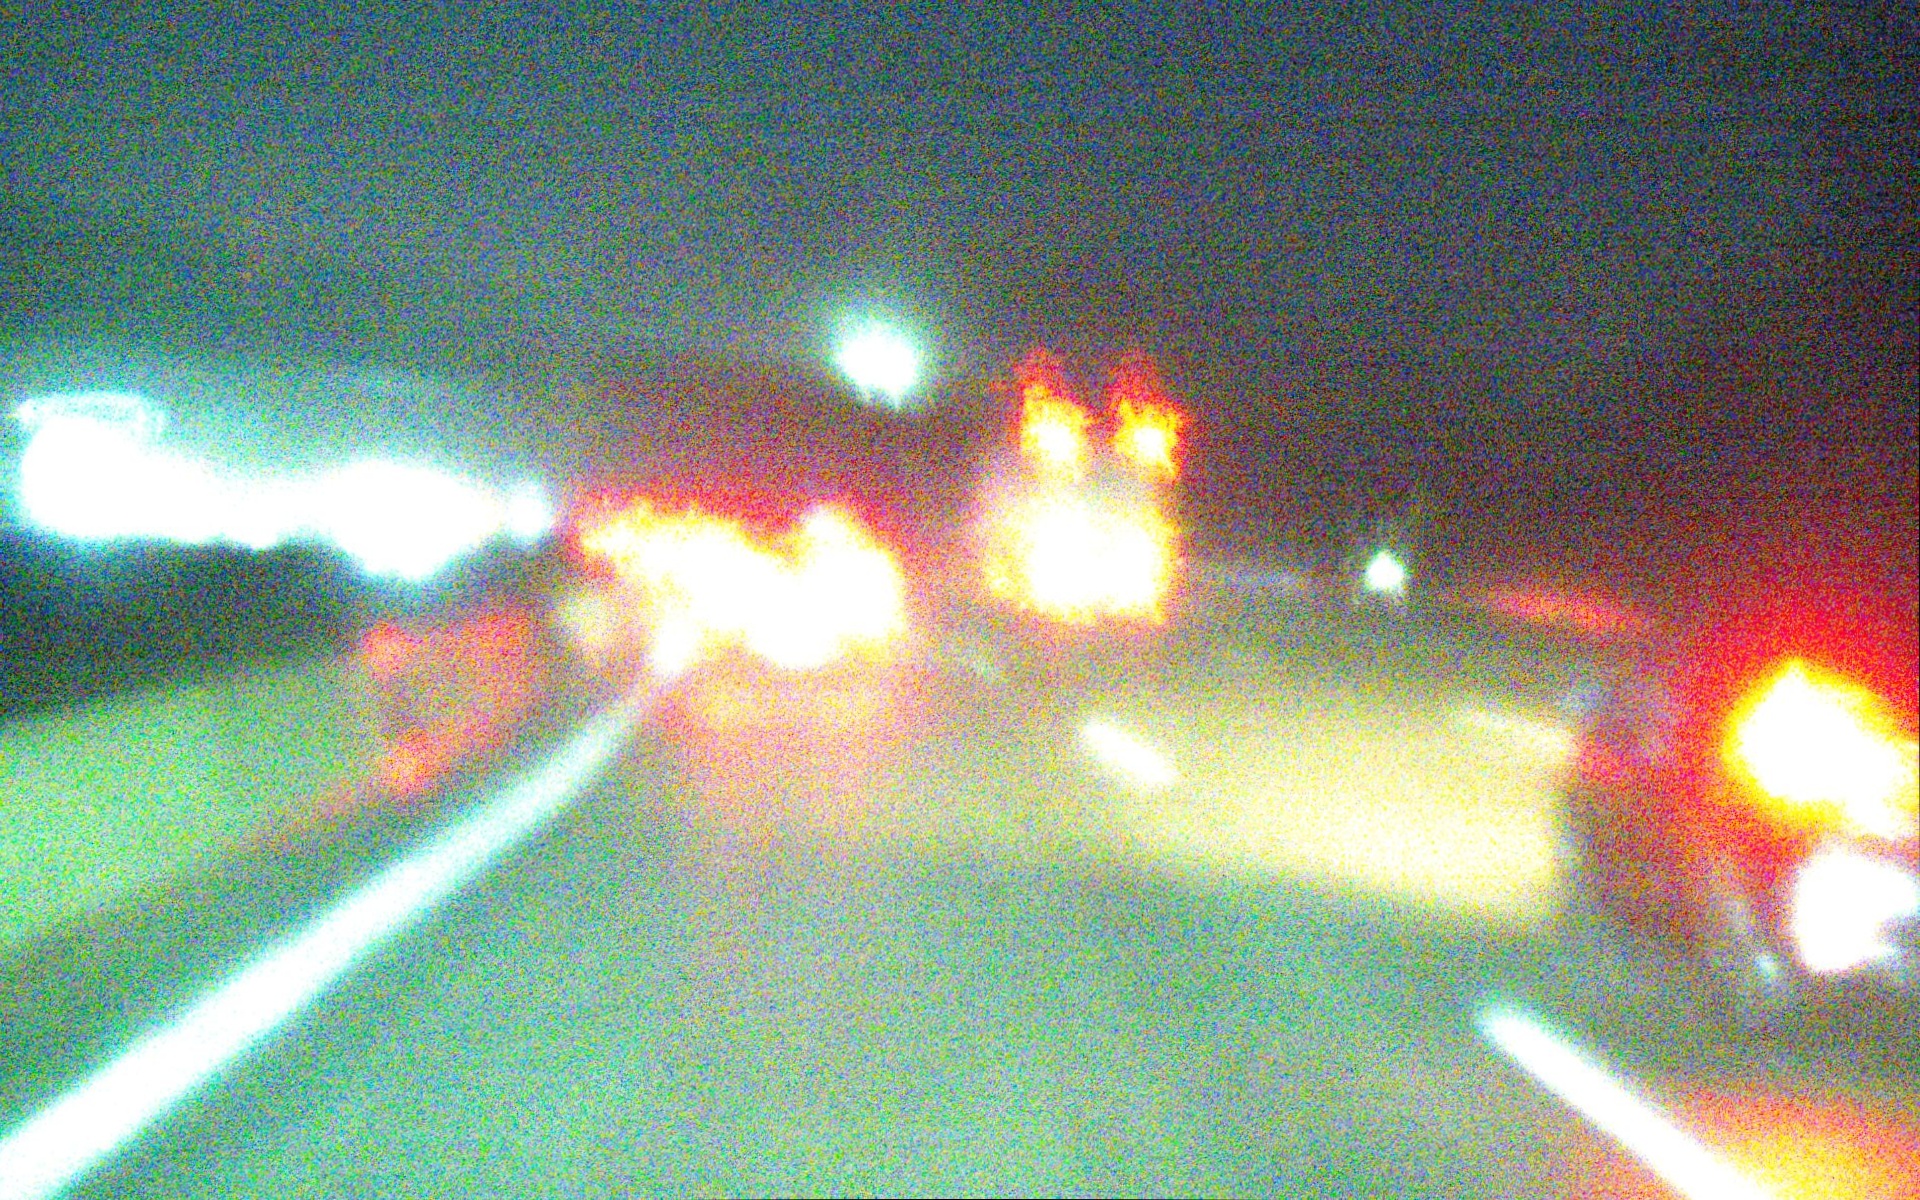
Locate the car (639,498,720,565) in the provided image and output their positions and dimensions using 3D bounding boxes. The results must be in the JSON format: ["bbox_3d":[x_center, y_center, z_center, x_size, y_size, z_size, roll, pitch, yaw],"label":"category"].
[{"bbox_3d":[-8.627,-2.080,105.476,1.993,2.007,4.001,-1,0,-12],"label":"car"}]

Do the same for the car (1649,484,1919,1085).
[{"bbox_3d":[3.269,0.460,11.301,1.801,1.612,4.255,1,2,10],"label":"car"}]

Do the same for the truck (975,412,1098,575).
[{"bbox_3d":[2.011,-2.904,92.858,2.710,4.226,5.294,1,2,-5],"label":"truck"}]

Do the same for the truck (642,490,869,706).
[{"bbox_3d":[-2.274,-0.128,40.040,2.145,2.070,6.604,5,2,-1],"label":"truck"}]

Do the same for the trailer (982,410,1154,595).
[{"bbox_3d":[2.562,-2.583,86.479,2.738,4.233,13.375,-1,3,-5],"label":"trailer"}]
